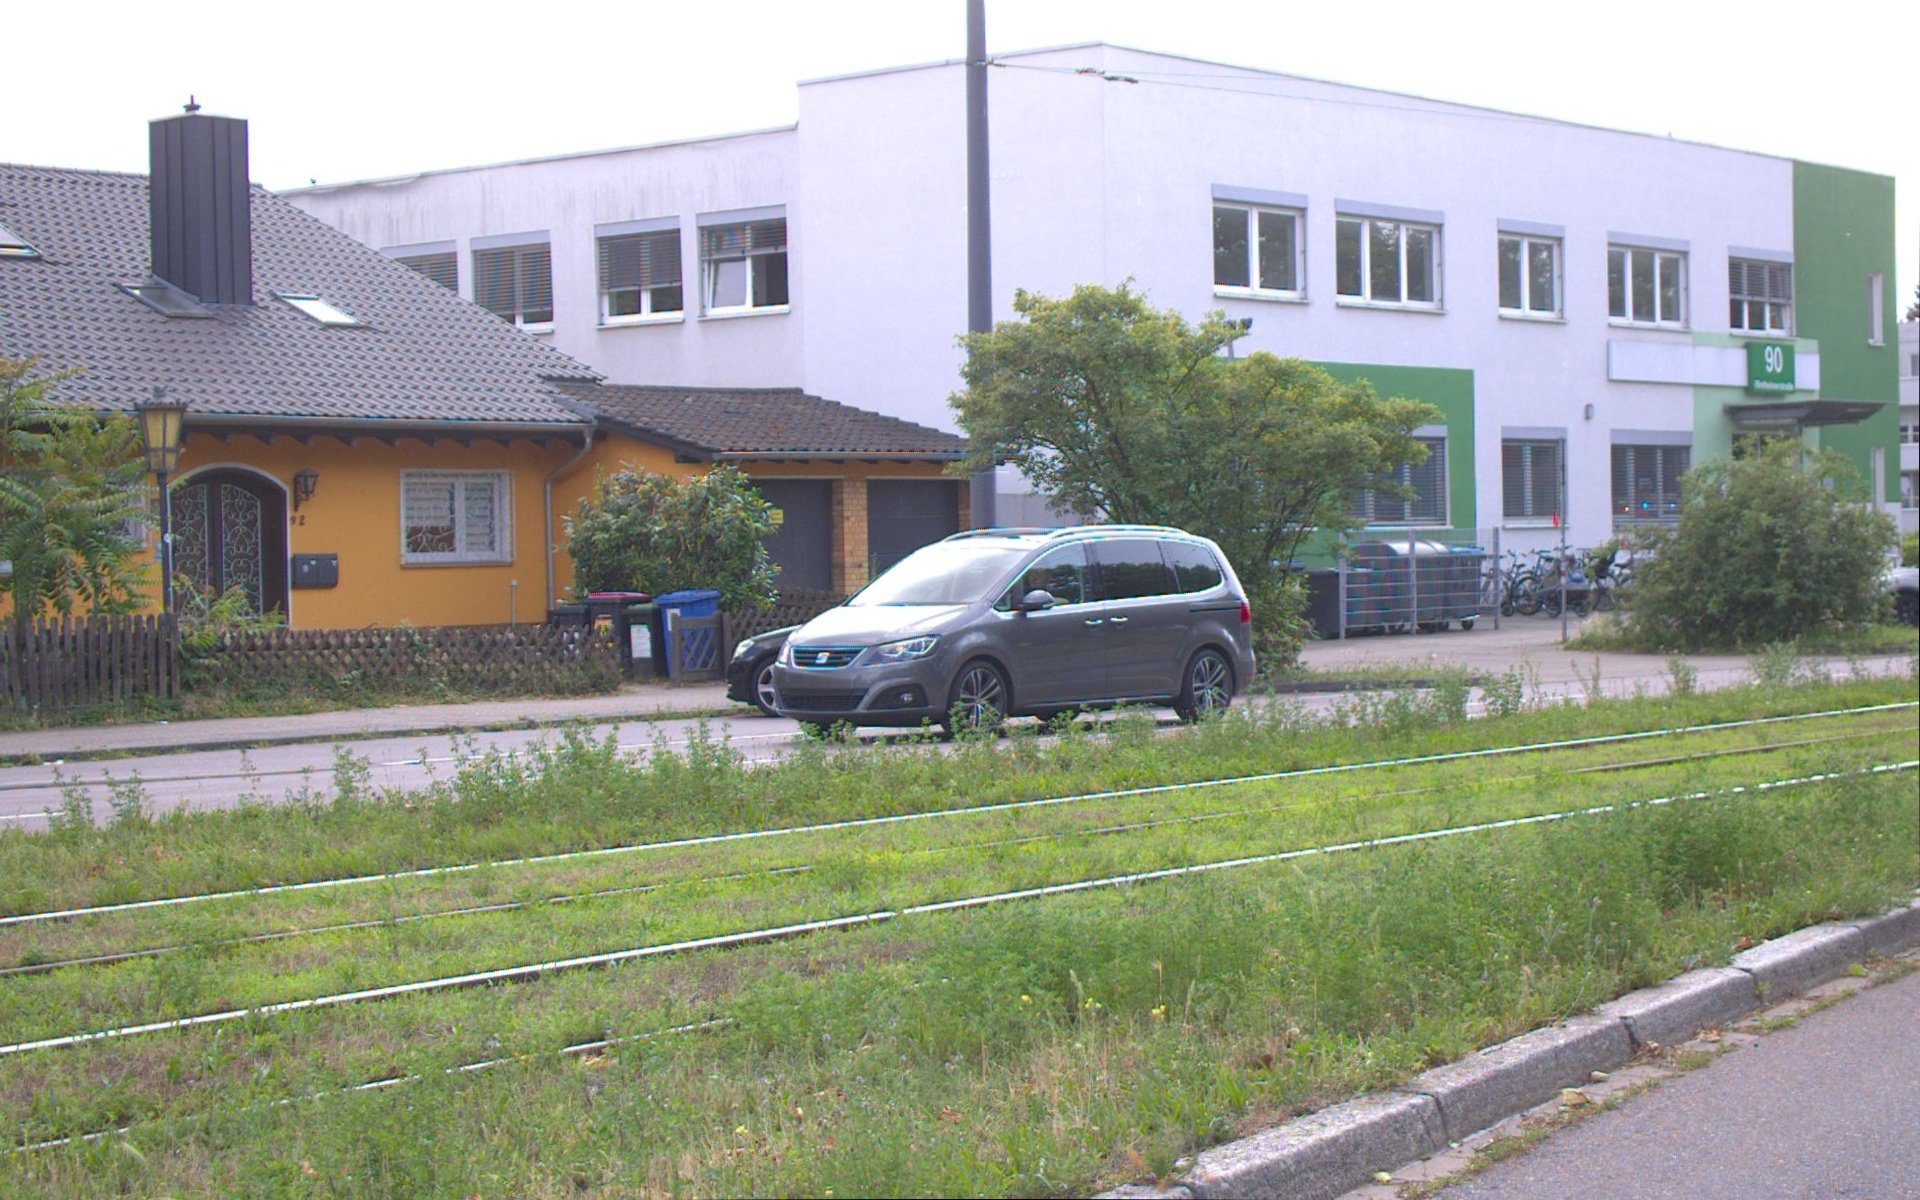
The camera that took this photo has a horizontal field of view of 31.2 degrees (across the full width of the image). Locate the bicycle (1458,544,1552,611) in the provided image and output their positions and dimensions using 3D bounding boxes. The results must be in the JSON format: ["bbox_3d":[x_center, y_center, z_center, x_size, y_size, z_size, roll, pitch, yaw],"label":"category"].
[{"bbox_3d":[9.587,-0.399,60.537,0.703,1.162,1.621,-2,1,-34],"label":"bicycle"}]

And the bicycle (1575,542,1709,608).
[{"bbox_3d":[12.448,-0.449,62.806,0.746,1.162,2.417,-2,1,-43],"label":"bicycle"}]

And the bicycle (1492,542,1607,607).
[{"bbox_3d":[10.088,-0.436,58.849,1.795,1.078,0.735,0,1,38],"label":"bicycle"}]

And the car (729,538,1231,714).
[{"bbox_3d":[0.212,0.255,34.379,4.569,1.575,1.998,-2,1,20],"label":"car"}]

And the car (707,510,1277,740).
[{"bbox_3d":[0.349,0.149,28.587,1.999,1.716,4.728,0,1,44],"label":"car"}]

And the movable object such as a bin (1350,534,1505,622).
[{"bbox_3d":[7.290,-0.350,53.554,1.375,1.322,2.126,0,1,44],"label":"movable object such as a bin"}]

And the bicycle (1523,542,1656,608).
[{"bbox_3d":[11.383,-0.452,62.214,0.758,1.162,2.350,-2,1,-44],"label":"bicycle"}]

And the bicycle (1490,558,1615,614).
[{"bbox_3d":[10.625,-0.249,61.669,2.158,0.967,0.729,0,1,44],"label":"bicycle"}]

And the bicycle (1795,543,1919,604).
[{"bbox_3d":[18.031,-0.525,67.160,3.140,1.162,1.140,0,1,36],"label":"bicycle"}]

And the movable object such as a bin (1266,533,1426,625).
[{"bbox_3d":[5.839,-0.324,51.921,1.375,1.322,2.112,0,1,44],"label":"movable object such as a bin"}]

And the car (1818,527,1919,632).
[{"bbox_3d":[16.093,-0.364,55.124,4.302,1.623,1.901,-1,1,7],"label":"car"}]
